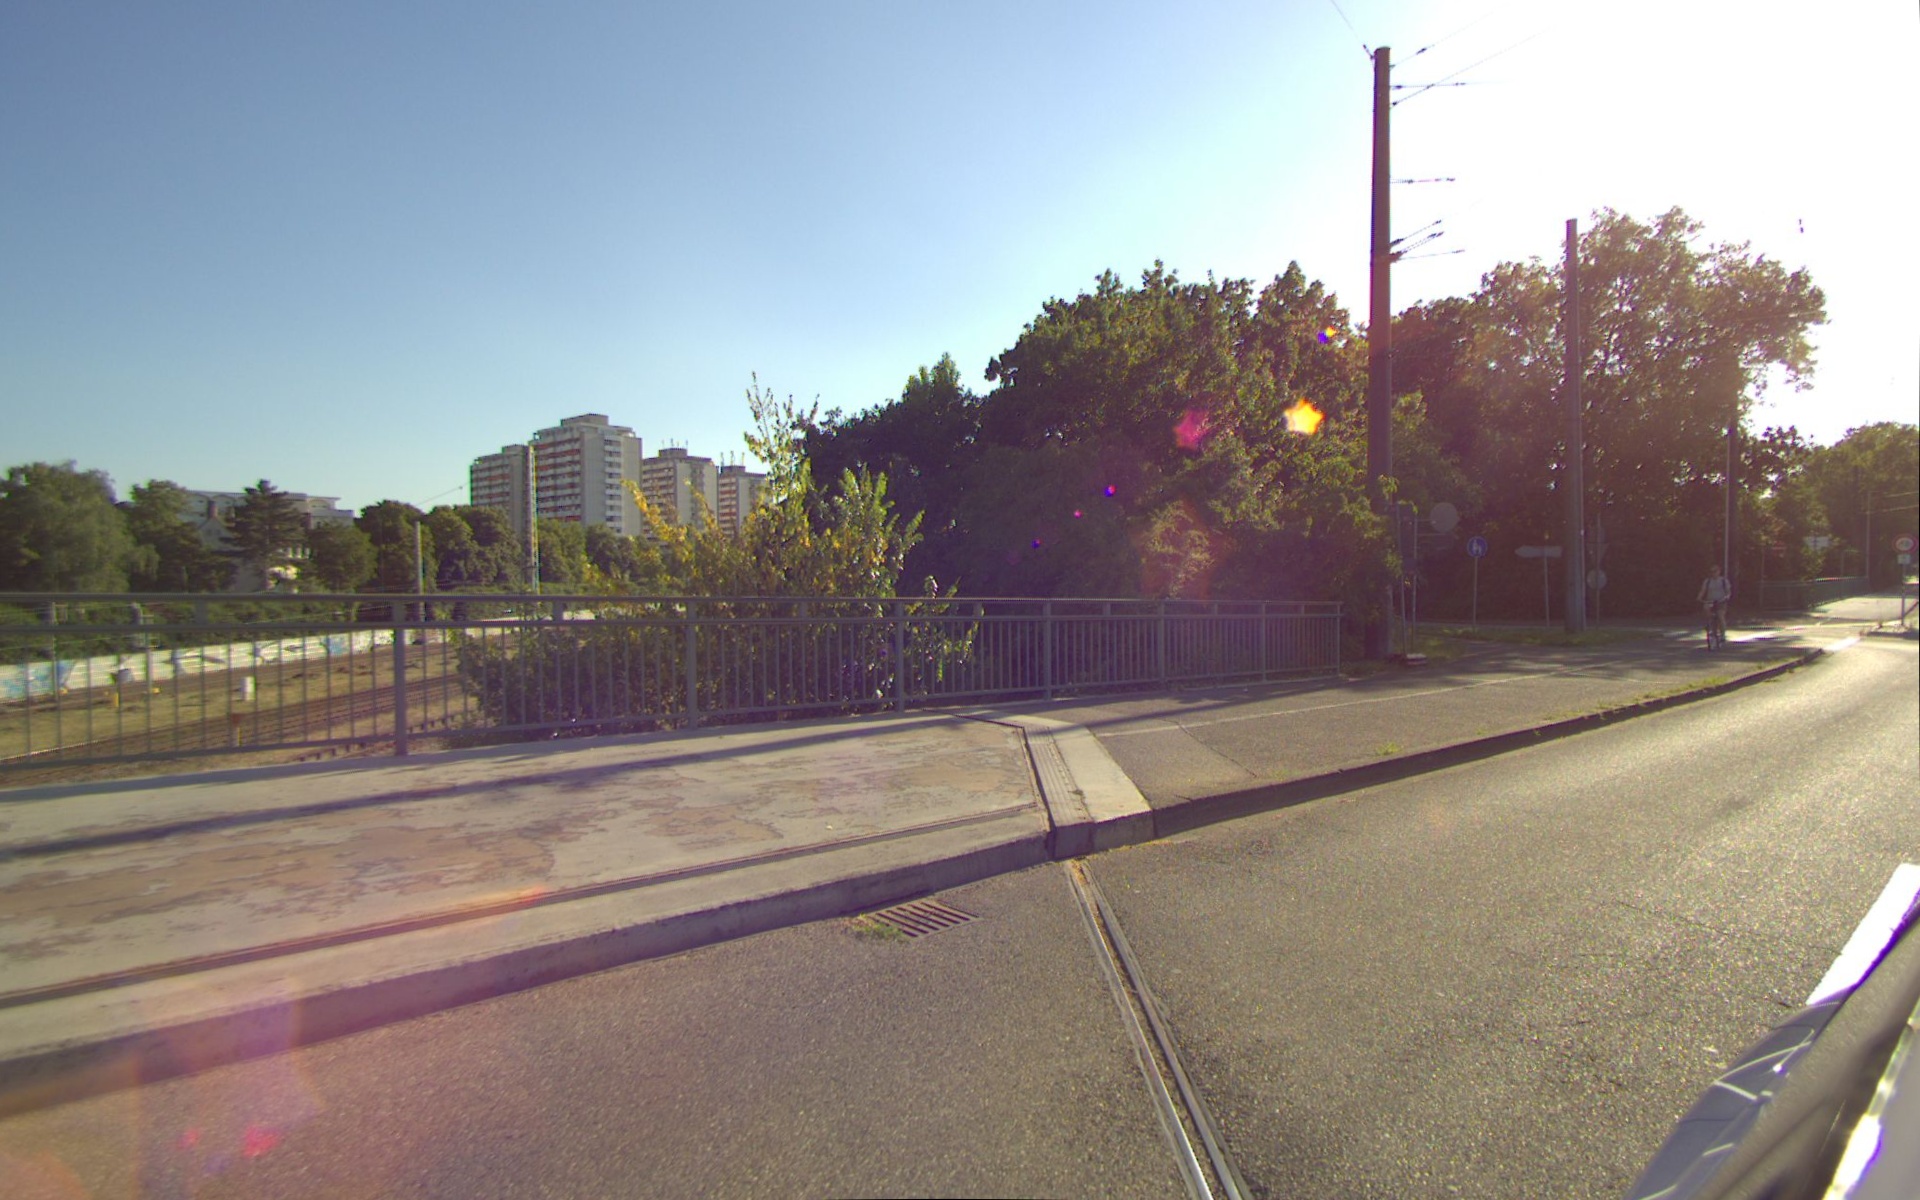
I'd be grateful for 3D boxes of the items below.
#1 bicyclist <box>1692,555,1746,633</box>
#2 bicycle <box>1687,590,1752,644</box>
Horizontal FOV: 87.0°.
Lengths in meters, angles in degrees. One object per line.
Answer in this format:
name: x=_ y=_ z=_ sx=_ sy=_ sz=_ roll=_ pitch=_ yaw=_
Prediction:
bicyclist: x=17.237 y=-0.143 z=22.980 sx=1.182 sy=1.711 sz=0.731 roll=-1 pitch=-2 yaw=-44
bicycle: x=17.244 y=0.369 z=22.940 sx=2.697 sy=1.137 sz=0.731 roll=-1 pitch=-1 yaw=-44
